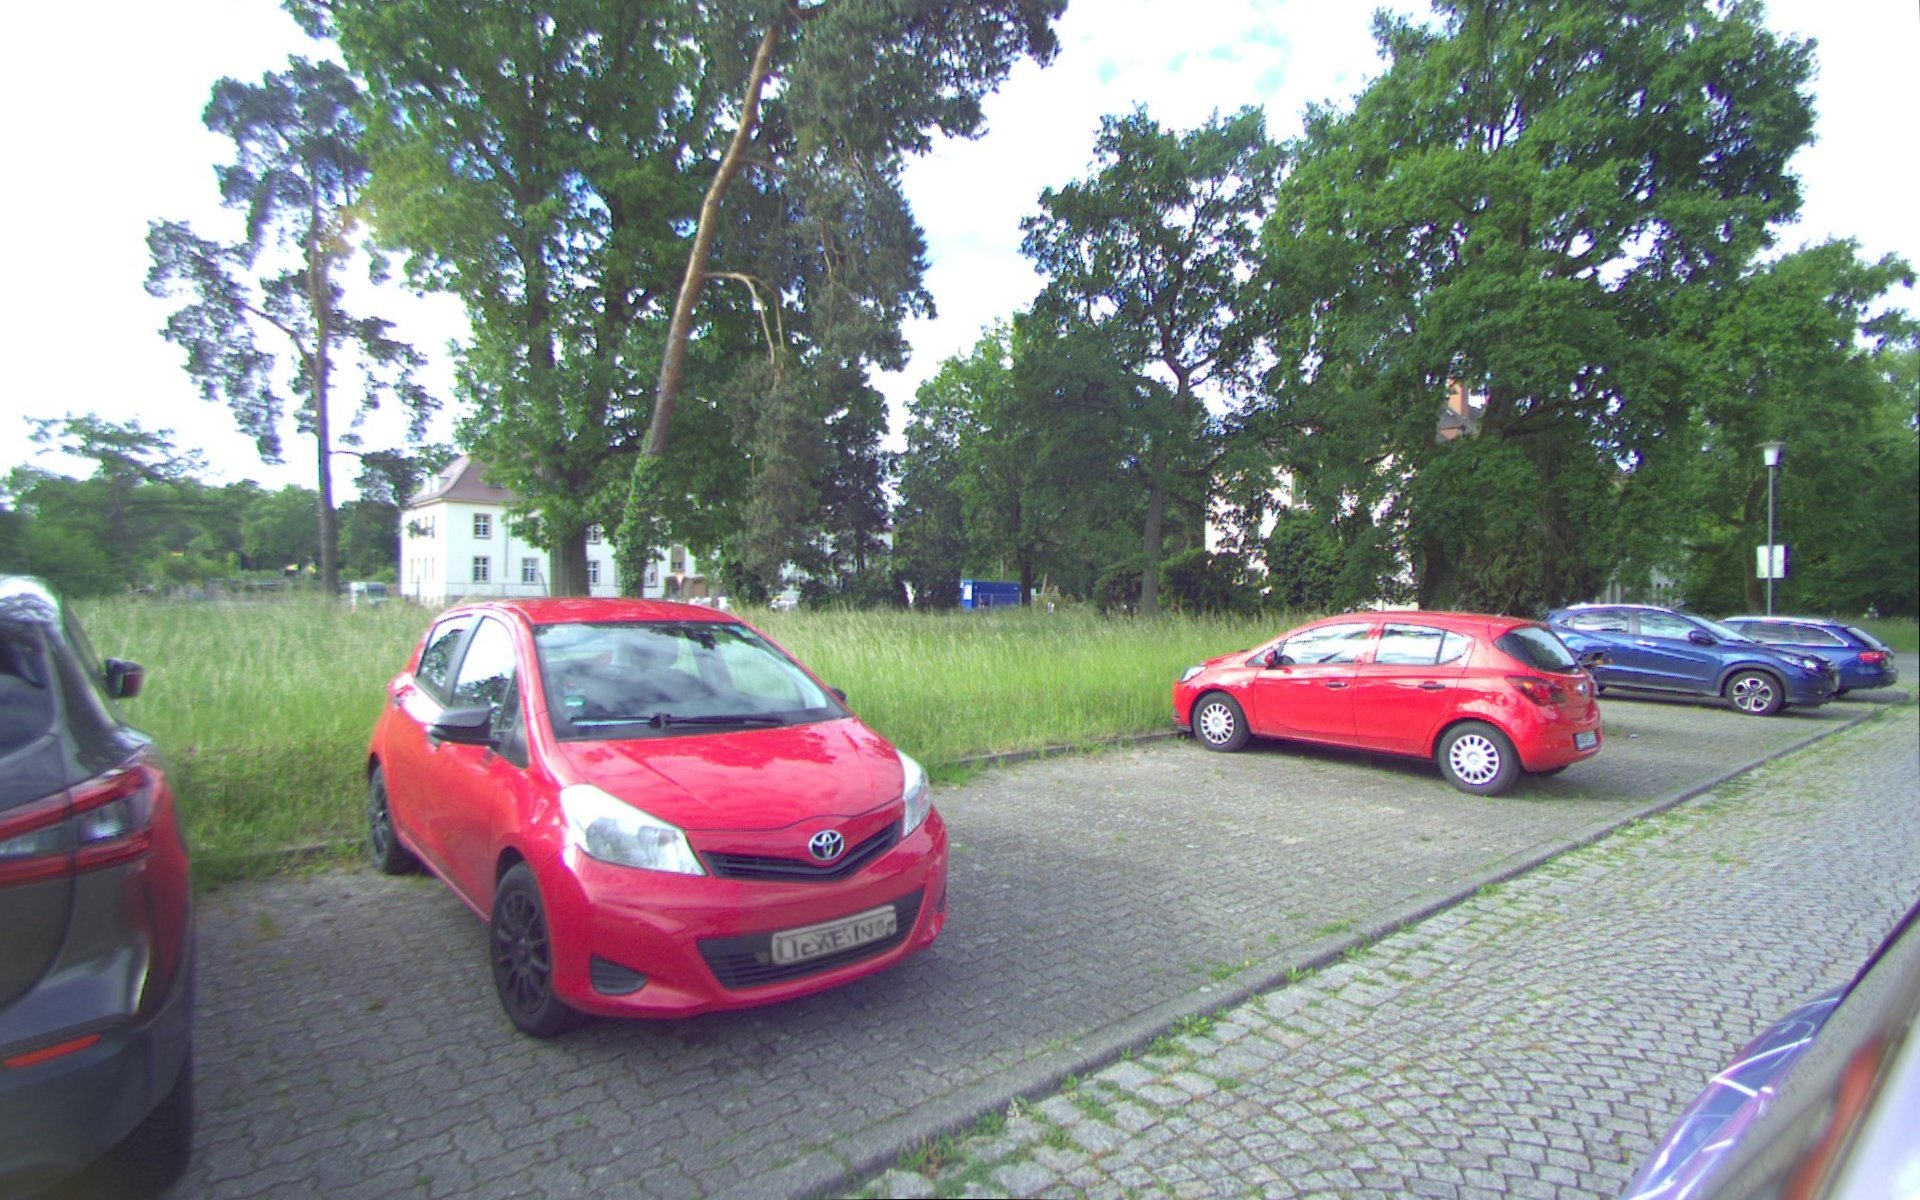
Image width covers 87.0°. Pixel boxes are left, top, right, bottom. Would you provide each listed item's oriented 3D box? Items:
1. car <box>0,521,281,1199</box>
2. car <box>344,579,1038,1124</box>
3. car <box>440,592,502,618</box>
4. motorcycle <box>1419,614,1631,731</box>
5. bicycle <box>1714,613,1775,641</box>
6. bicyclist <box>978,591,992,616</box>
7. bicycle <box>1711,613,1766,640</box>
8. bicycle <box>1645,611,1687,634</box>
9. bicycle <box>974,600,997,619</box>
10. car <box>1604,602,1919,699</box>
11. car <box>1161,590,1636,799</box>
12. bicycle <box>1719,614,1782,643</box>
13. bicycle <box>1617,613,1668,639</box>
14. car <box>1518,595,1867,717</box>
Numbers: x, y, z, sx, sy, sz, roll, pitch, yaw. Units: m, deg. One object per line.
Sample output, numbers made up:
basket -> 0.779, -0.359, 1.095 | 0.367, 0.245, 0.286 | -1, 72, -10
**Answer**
car -> -3.413, 0.624, 3.030 | 1.732, 1.600, 3.955 | 1, 0, -42
car -> -1.638, 0.695, 4.946 | 1.707, 1.538, 3.994 | 1, 0, -41
car -> -39.573, 0.435, 81.847 | 5.811, 2.039, 2.450 | -1, 0, 42
motorcycle -> 7.095, 0.862, 12.814 | 2.265, 1.291, 0.596 | 1, 0, 45
bicycle -> 33.599, 1.153, 43.356 | 1.999, 1.101, 0.474 | 1, 2, 28
bicyclist -> 2.022, 0.296, 81.780 | 0.833, 2.039, 0.658 | 0, -1, -40
bicycle -> 34.767, 1.173, 45.237 | 1.848, 1.101, 0.515 | 1, 2, 28
bicycle -> 33.711, 1.085, 48.326 | 1.550, 1.047, 0.472 | 1, 0, 26
bicycle -> 2.040, 0.749, 81.783 | 1.900, 1.498, 0.654 | 0, -1, -40
car -> 15.289, 0.876, 19.468 | 1.860, 1.483, 4.518 | 1, 1, -37
car -> 4.032, 0.717, 9.776 | 1.708, 1.524, 3.845 | 1, 1, -42
bicycle -> 32.774, 1.186, 41.977 | 1.999, 1.101, 0.474 | 1, 2, 28
bicycle -> 30.425, 1.163, 45.150 | 1.792, 1.101, 0.475 | 1, 2, 23
car -> 11.715, 0.783, 16.423 | 1.862, 1.593, 4.271 | 1, 1, -41
